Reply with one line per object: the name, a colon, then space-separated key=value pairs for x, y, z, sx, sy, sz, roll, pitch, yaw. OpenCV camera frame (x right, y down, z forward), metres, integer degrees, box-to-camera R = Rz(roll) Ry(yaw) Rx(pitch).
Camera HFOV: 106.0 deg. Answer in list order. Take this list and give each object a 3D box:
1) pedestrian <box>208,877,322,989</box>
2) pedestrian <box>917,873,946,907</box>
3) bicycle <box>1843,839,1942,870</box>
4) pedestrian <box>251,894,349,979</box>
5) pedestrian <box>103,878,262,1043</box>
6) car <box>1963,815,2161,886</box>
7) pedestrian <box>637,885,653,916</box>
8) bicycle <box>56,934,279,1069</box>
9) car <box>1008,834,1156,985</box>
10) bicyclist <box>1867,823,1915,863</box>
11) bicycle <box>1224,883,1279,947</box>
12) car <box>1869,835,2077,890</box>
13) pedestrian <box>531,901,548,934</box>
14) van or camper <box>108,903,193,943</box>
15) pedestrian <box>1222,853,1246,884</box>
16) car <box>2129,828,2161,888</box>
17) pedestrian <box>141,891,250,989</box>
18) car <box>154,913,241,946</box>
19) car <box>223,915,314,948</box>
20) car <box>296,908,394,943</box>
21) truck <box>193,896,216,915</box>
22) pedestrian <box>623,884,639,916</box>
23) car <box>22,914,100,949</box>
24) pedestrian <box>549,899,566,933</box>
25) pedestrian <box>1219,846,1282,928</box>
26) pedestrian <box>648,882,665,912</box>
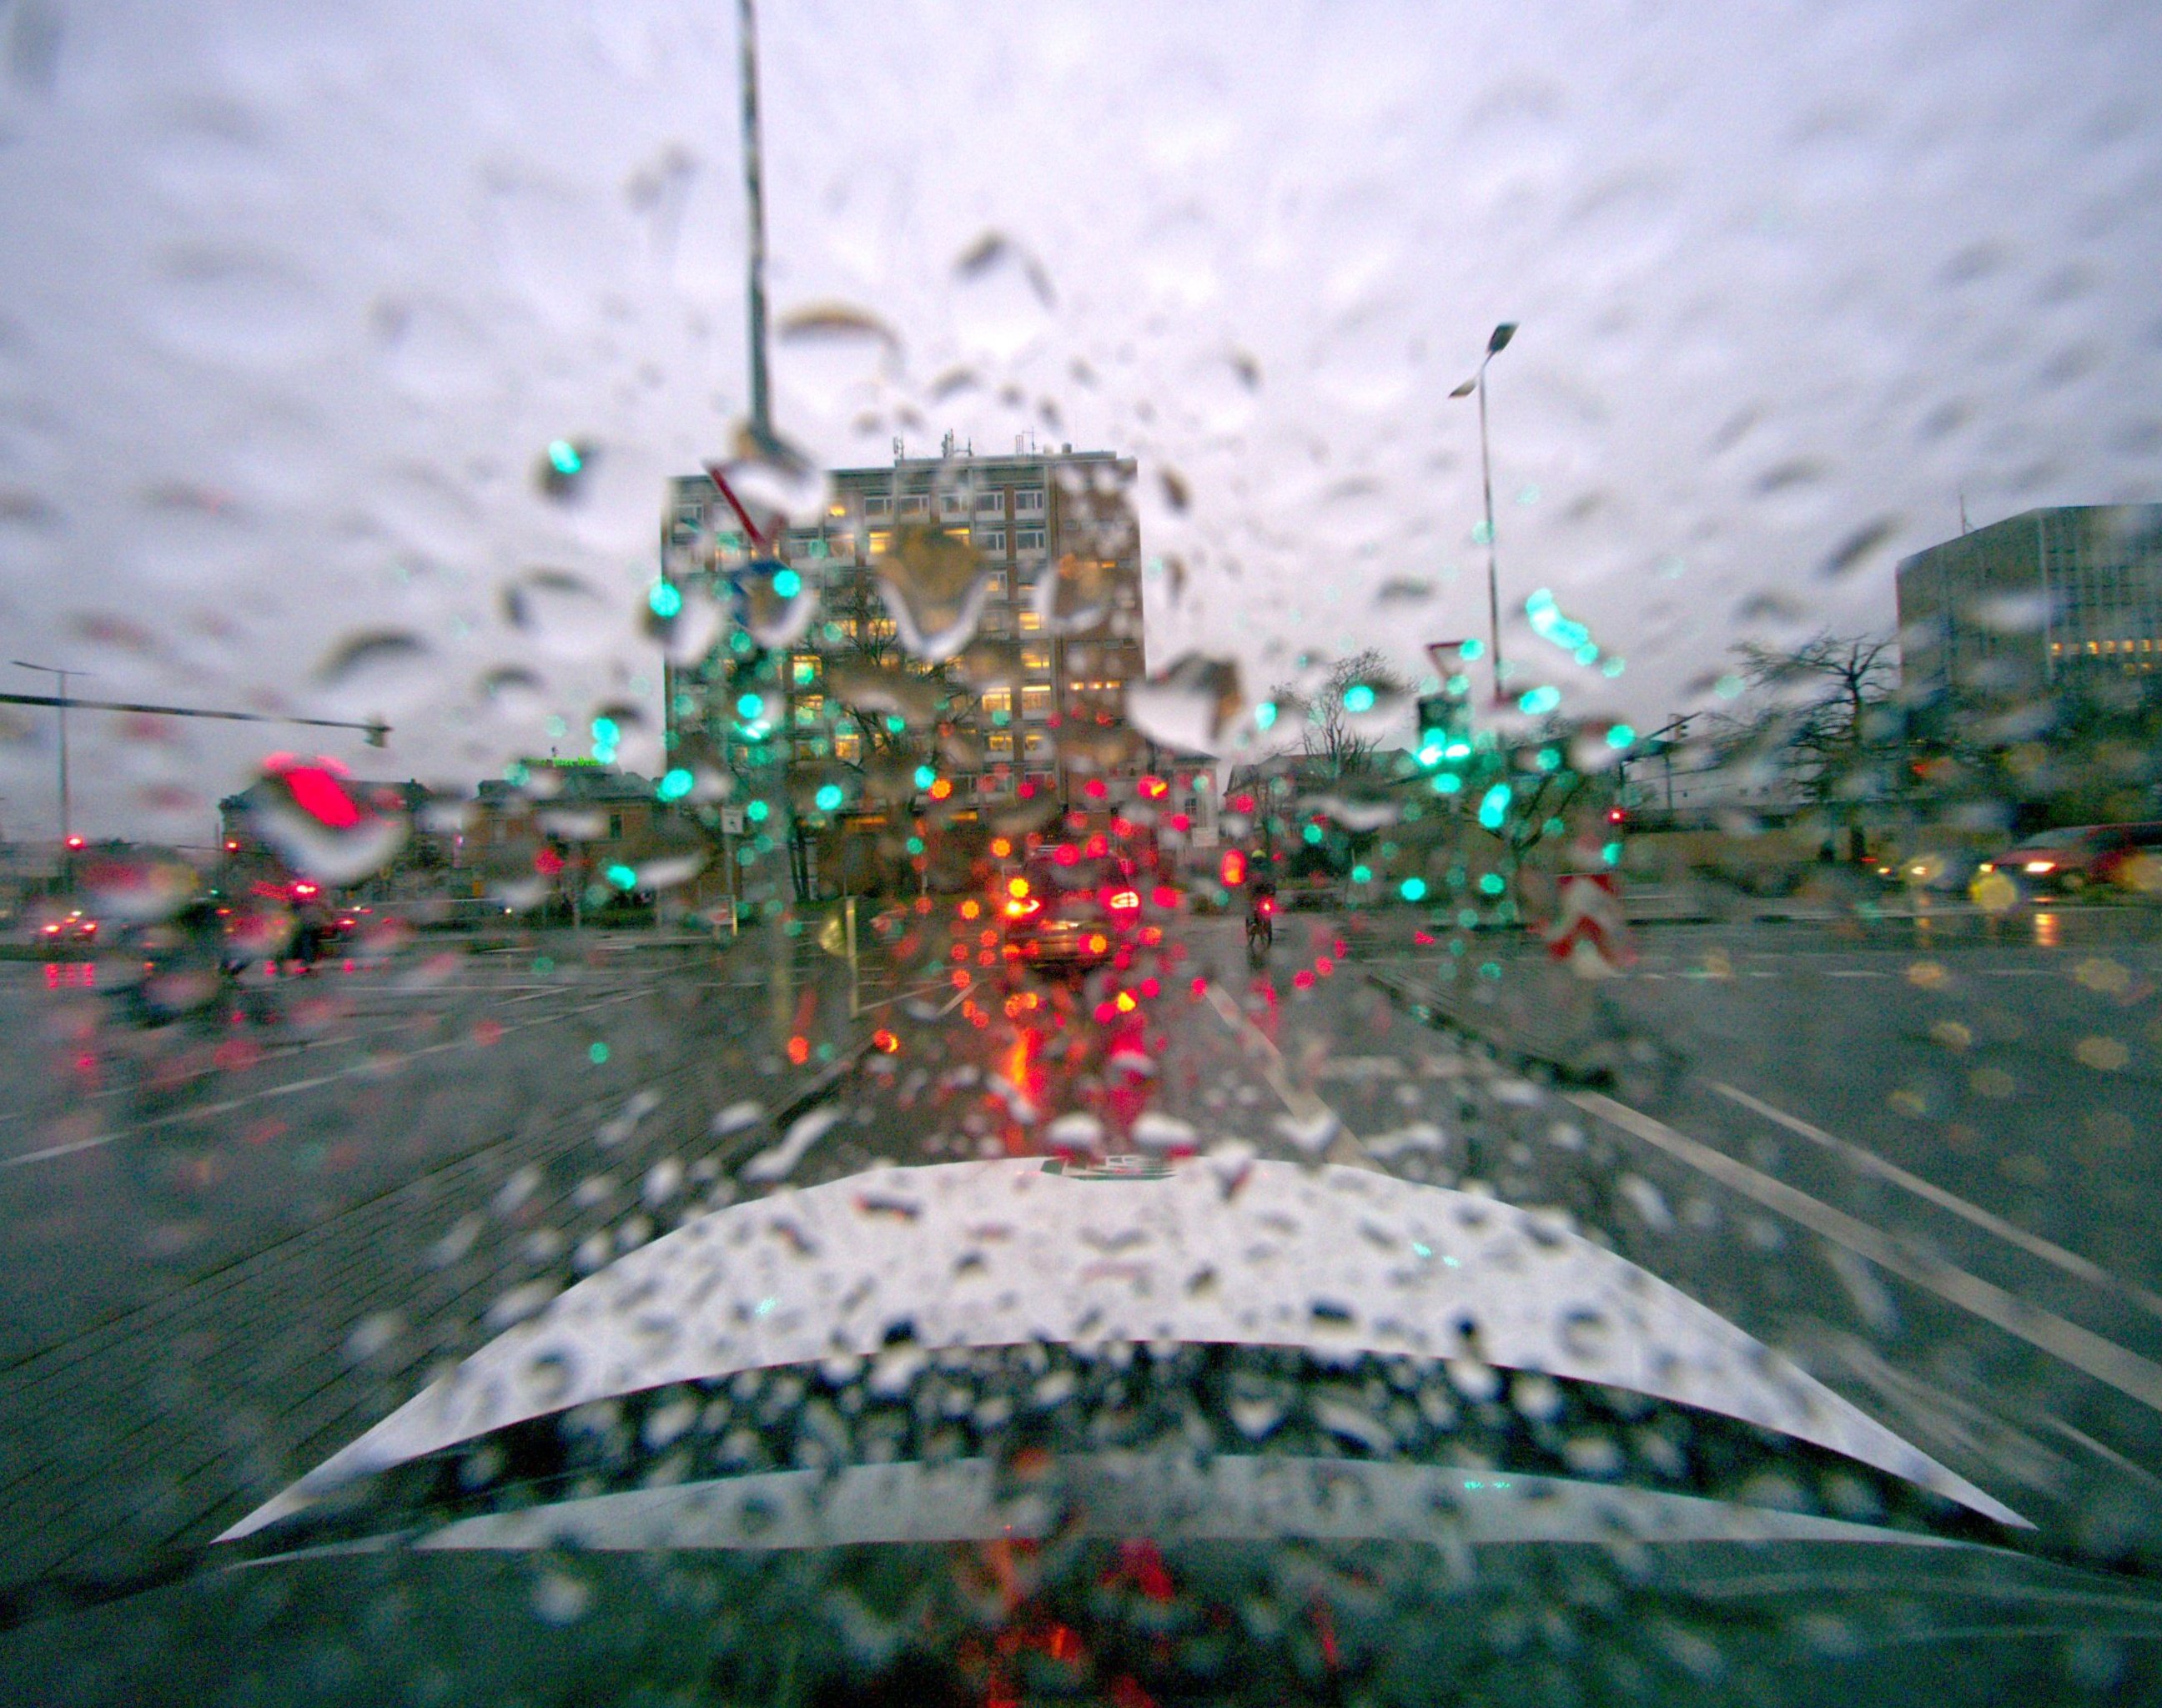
pedestrian: x=-15.919 y=1.490 z=15.925 sx=1.024 sy=2.050 sz=1.221 roll=0 pitch=-1 yaw=18
pedestrian: x=-7.652 y=1.838 z=41.666 sx=1.057 sy=1.687 sz=0.814 roll=-3 pitch=0 yaw=22
bicycle: x=31.721 y=0.017 z=31.866 sx=2.879 sy=1.015 sz=0.796 roll=-3 pitch=-1 yaw=5
pedestrian: x=-18.131 y=1.885 z=18.940 sx=1.228 sy=1.858 sz=1.034 roll=0 pitch=-1 yaw=-3
pedestrian: x=-10.336 y=1.177 z=9.415 sx=0.715 sy=1.734 sz=0.978 roll=-4 pitch=-1 yaw=-10
car: x=28.657 y=-0.123 z=23.047 sx=4.906 sy=1.749 sz=2.003 roll=-3 pitch=0 yaw=5
pedestrian: x=-25.275 y=2.684 z=47.210 sx=0.673 sy=1.687 sz=0.605 roll=-4 pitch=2 yaw=-37
bicycle: x=-10.297 y=1.604 z=9.297 sx=0.622 sy=1.176 sz=1.866 roll=-4 pitch=-1 yaw=-10
car: x=-0.020 y=0.740 z=12.250 sx=1.773 sy=1.800 sz=4.422 roll=-2 pitch=-2 yaw=-1
bicyclist: x=31.692 y=-0.429 z=31.869 sx=0.986 sy=1.489 sz=0.769 roll=-3 pitch=-1 yaw=5
bicycle: x=2.974 y=1.041 z=14.396 sx=0.559 sy=0.947 sz=2.096 roll=-3 pitch=0 yaw=2
car: x=28.470 y=0.269 z=26.109 sx=4.435 sy=1.486 sz=1.777 roll=-3 pitch=0 yaw=5
pedestrian: x=-33.093 y=3.879 z=49.736 sx=0.814 sy=1.930 sz=0.751 roll=0 pitch=-1 yaw=-37
van or camper: x=-53.173 y=3.926 z=46.529 sx=4.923 sy=2.110 sz=2.222 roll=-3 pitch=-3 yaw=29
pedestrian: x=8.702 y=0.801 z=46.354 sx=0.933 sy=1.687 sz=0.901 roll=-2 pitch=1 yaw=-41
car: x=27.272 y=-0.015 z=18.364 sx=4.462 sy=1.376 sz=1.934 roll=-3 pitch=0 yaw=5
pedestrian: x=-17.872 y=1.696 z=16.476 sx=1.067 sy=1.858 sz=1.031 roll=0 pitch=-1 yaw=-11
car: x=-45.780 y=3.910 z=42.192 sx=4.484 sy=1.601 sz=1.801 roll=-3 pitch=-4 yaw=26
car: x=-39.239 y=3.727 z=39.334 sx=4.070 sy=1.404 sz=1.673 roll=-4 pitch=-3 yaw=23
car: x=-33.308 y=3.246 z=36.868 sx=3.825 sy=1.482 sz=1.715 roll=-3 pitch=-4 yaw=22
truck: x=-132.340 y=7.824 z=123.009 sx=2.012 sy=2.691 sz=5.051 roll=-2 pitch=-1 yaw=-44
pedestrian: x=-25.908 y=2.627 z=46.858 sx=0.588 sy=1.781 sz=0.760 roll=-4 pitch=-1 yaw=-37
car: x=-56.301 y=4.274 z=44.961 sx=3.949 sy=1.772 sz=1.902 roll=-3 pitch=-2 yaw=27
pedestrian: x=-32.437 y=3.852 z=50.434 sx=0.814 sy=2.014 sz=0.751 roll=0 pitch=-1 yaw=-37
pedestrian: x=2.920 y=0.558 z=14.108 sx=0.871 sy=1.317 sz=0.848 roll=-3 pitch=-1 yaw=1
pedestrian: x=-24.923 y=2.525 z=47.823 sx=0.724 sy=1.688 sz=0.751 roll=-2 pitch=-1 yaw=-38
